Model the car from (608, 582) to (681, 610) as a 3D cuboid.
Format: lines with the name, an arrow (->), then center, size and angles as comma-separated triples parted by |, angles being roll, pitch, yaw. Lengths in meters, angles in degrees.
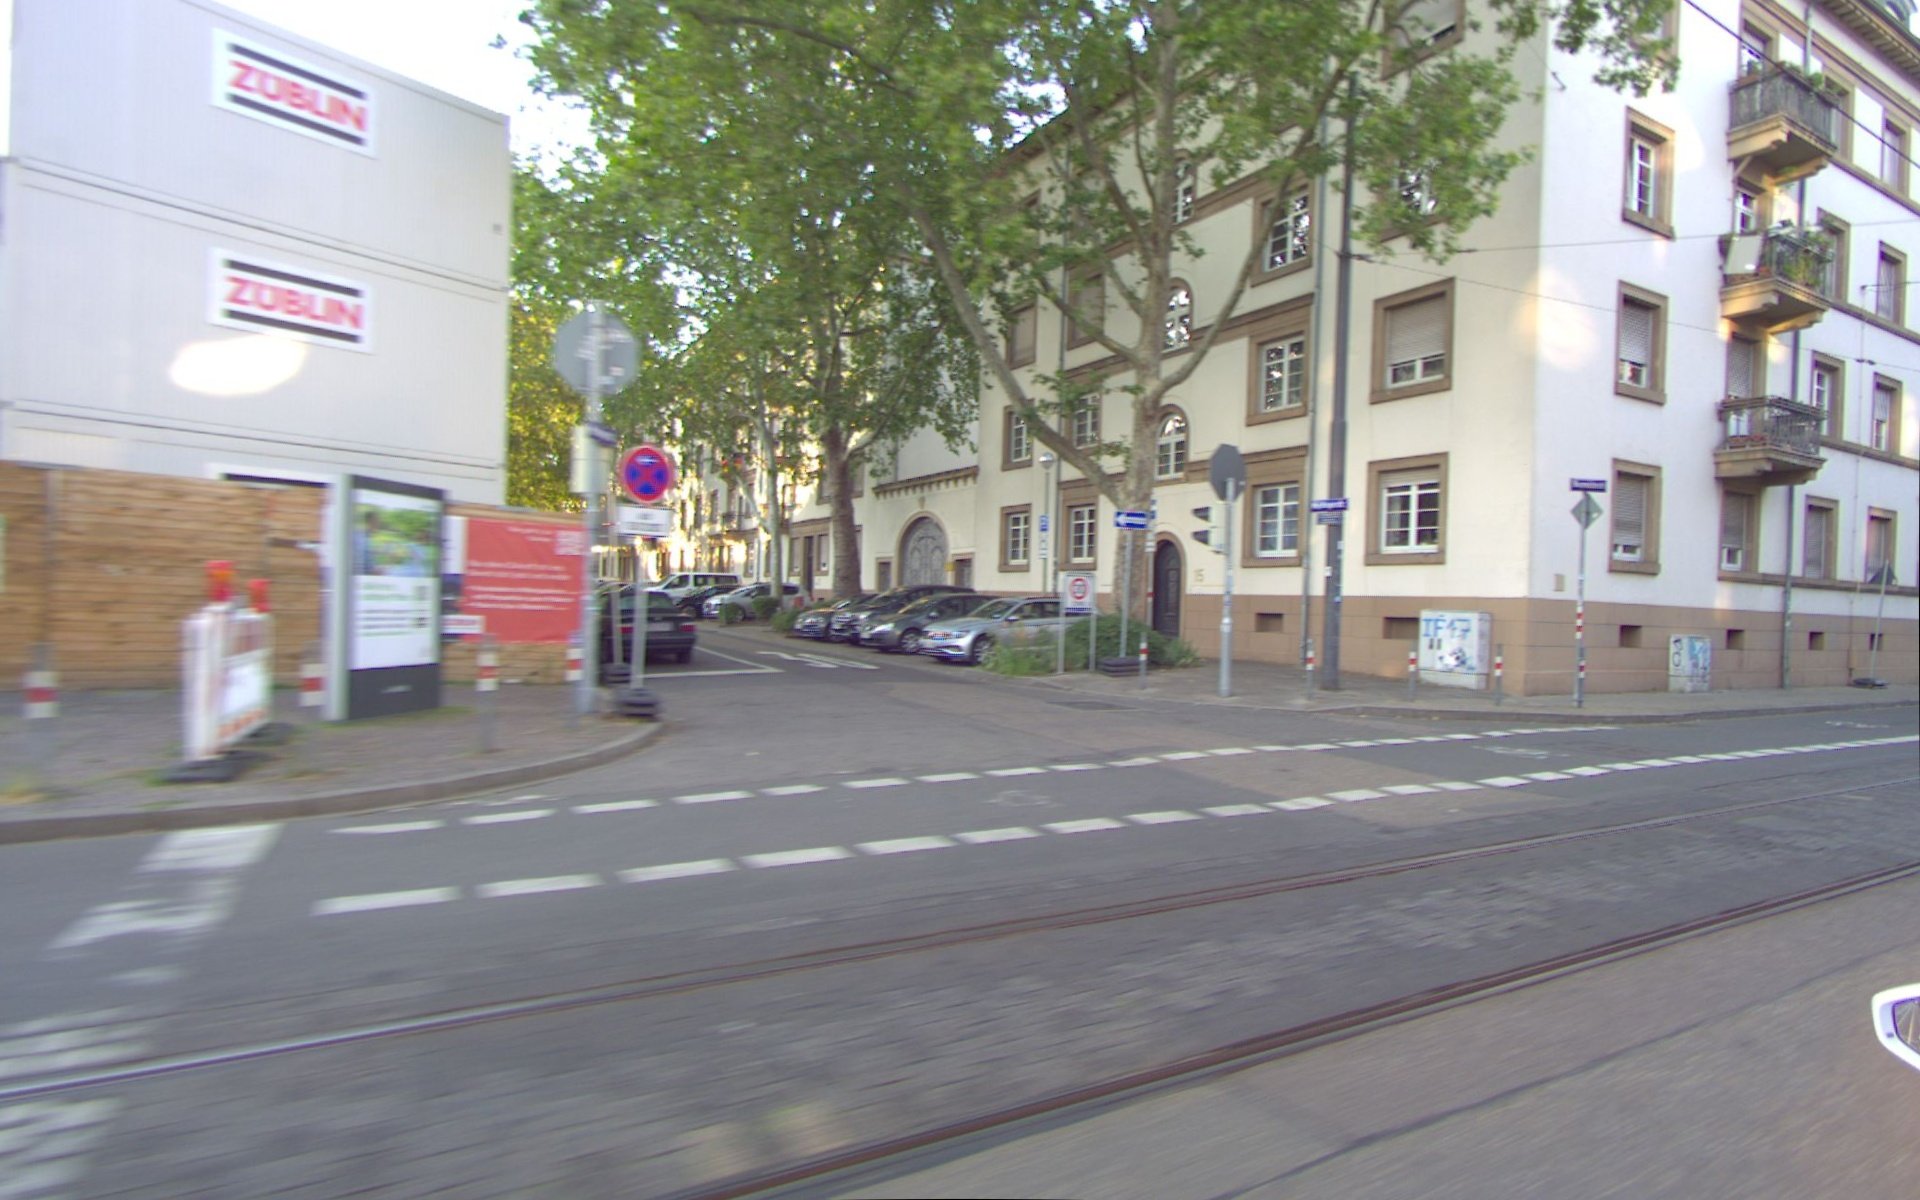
car -> -19.439, -0.273, 61.853 | 4.043, 1.636, 1.745 | -1, 2, -30

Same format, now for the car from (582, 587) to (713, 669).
car -> -6.243, 0.462, 19.807 | 1.737, 1.378, 4.062 | -1, 2, -28

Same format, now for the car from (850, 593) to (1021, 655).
car -> -0.603, 0.557, 25.520 | 4.043, 1.378, 1.745 | -1, 2, -30

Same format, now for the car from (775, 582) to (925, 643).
car -> -3.193, 0.316, 29.317 | 4.043, 1.636, 1.745 | -1, 2, -30

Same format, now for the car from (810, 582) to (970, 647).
car -> -1.886, 0.343, 27.484 | 4.043, 1.636, 1.745 | -1, 2, -30

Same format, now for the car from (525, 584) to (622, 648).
car -> -9.571, 0.319, 24.704 | 1.737, 1.378, 4.062 | -1, 2, -28

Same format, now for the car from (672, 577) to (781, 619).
car -> -9.572, -0.115, 41.167 | 4.043, 1.636, 1.745 | -1, 2, -30

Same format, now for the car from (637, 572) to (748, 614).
car -> -12.730, -0.370, 47.862 | 4.865, 1.904, 1.745 | -1, 2, -30

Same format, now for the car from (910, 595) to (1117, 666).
car -> 1.225, 0.624, 22.522 | 4.420, 1.378, 1.745 | -1, 2, -30

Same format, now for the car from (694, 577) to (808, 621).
car -> -8.104, -0.078, 39.018 | 4.043, 1.636, 1.745 | -1, 2, -30
